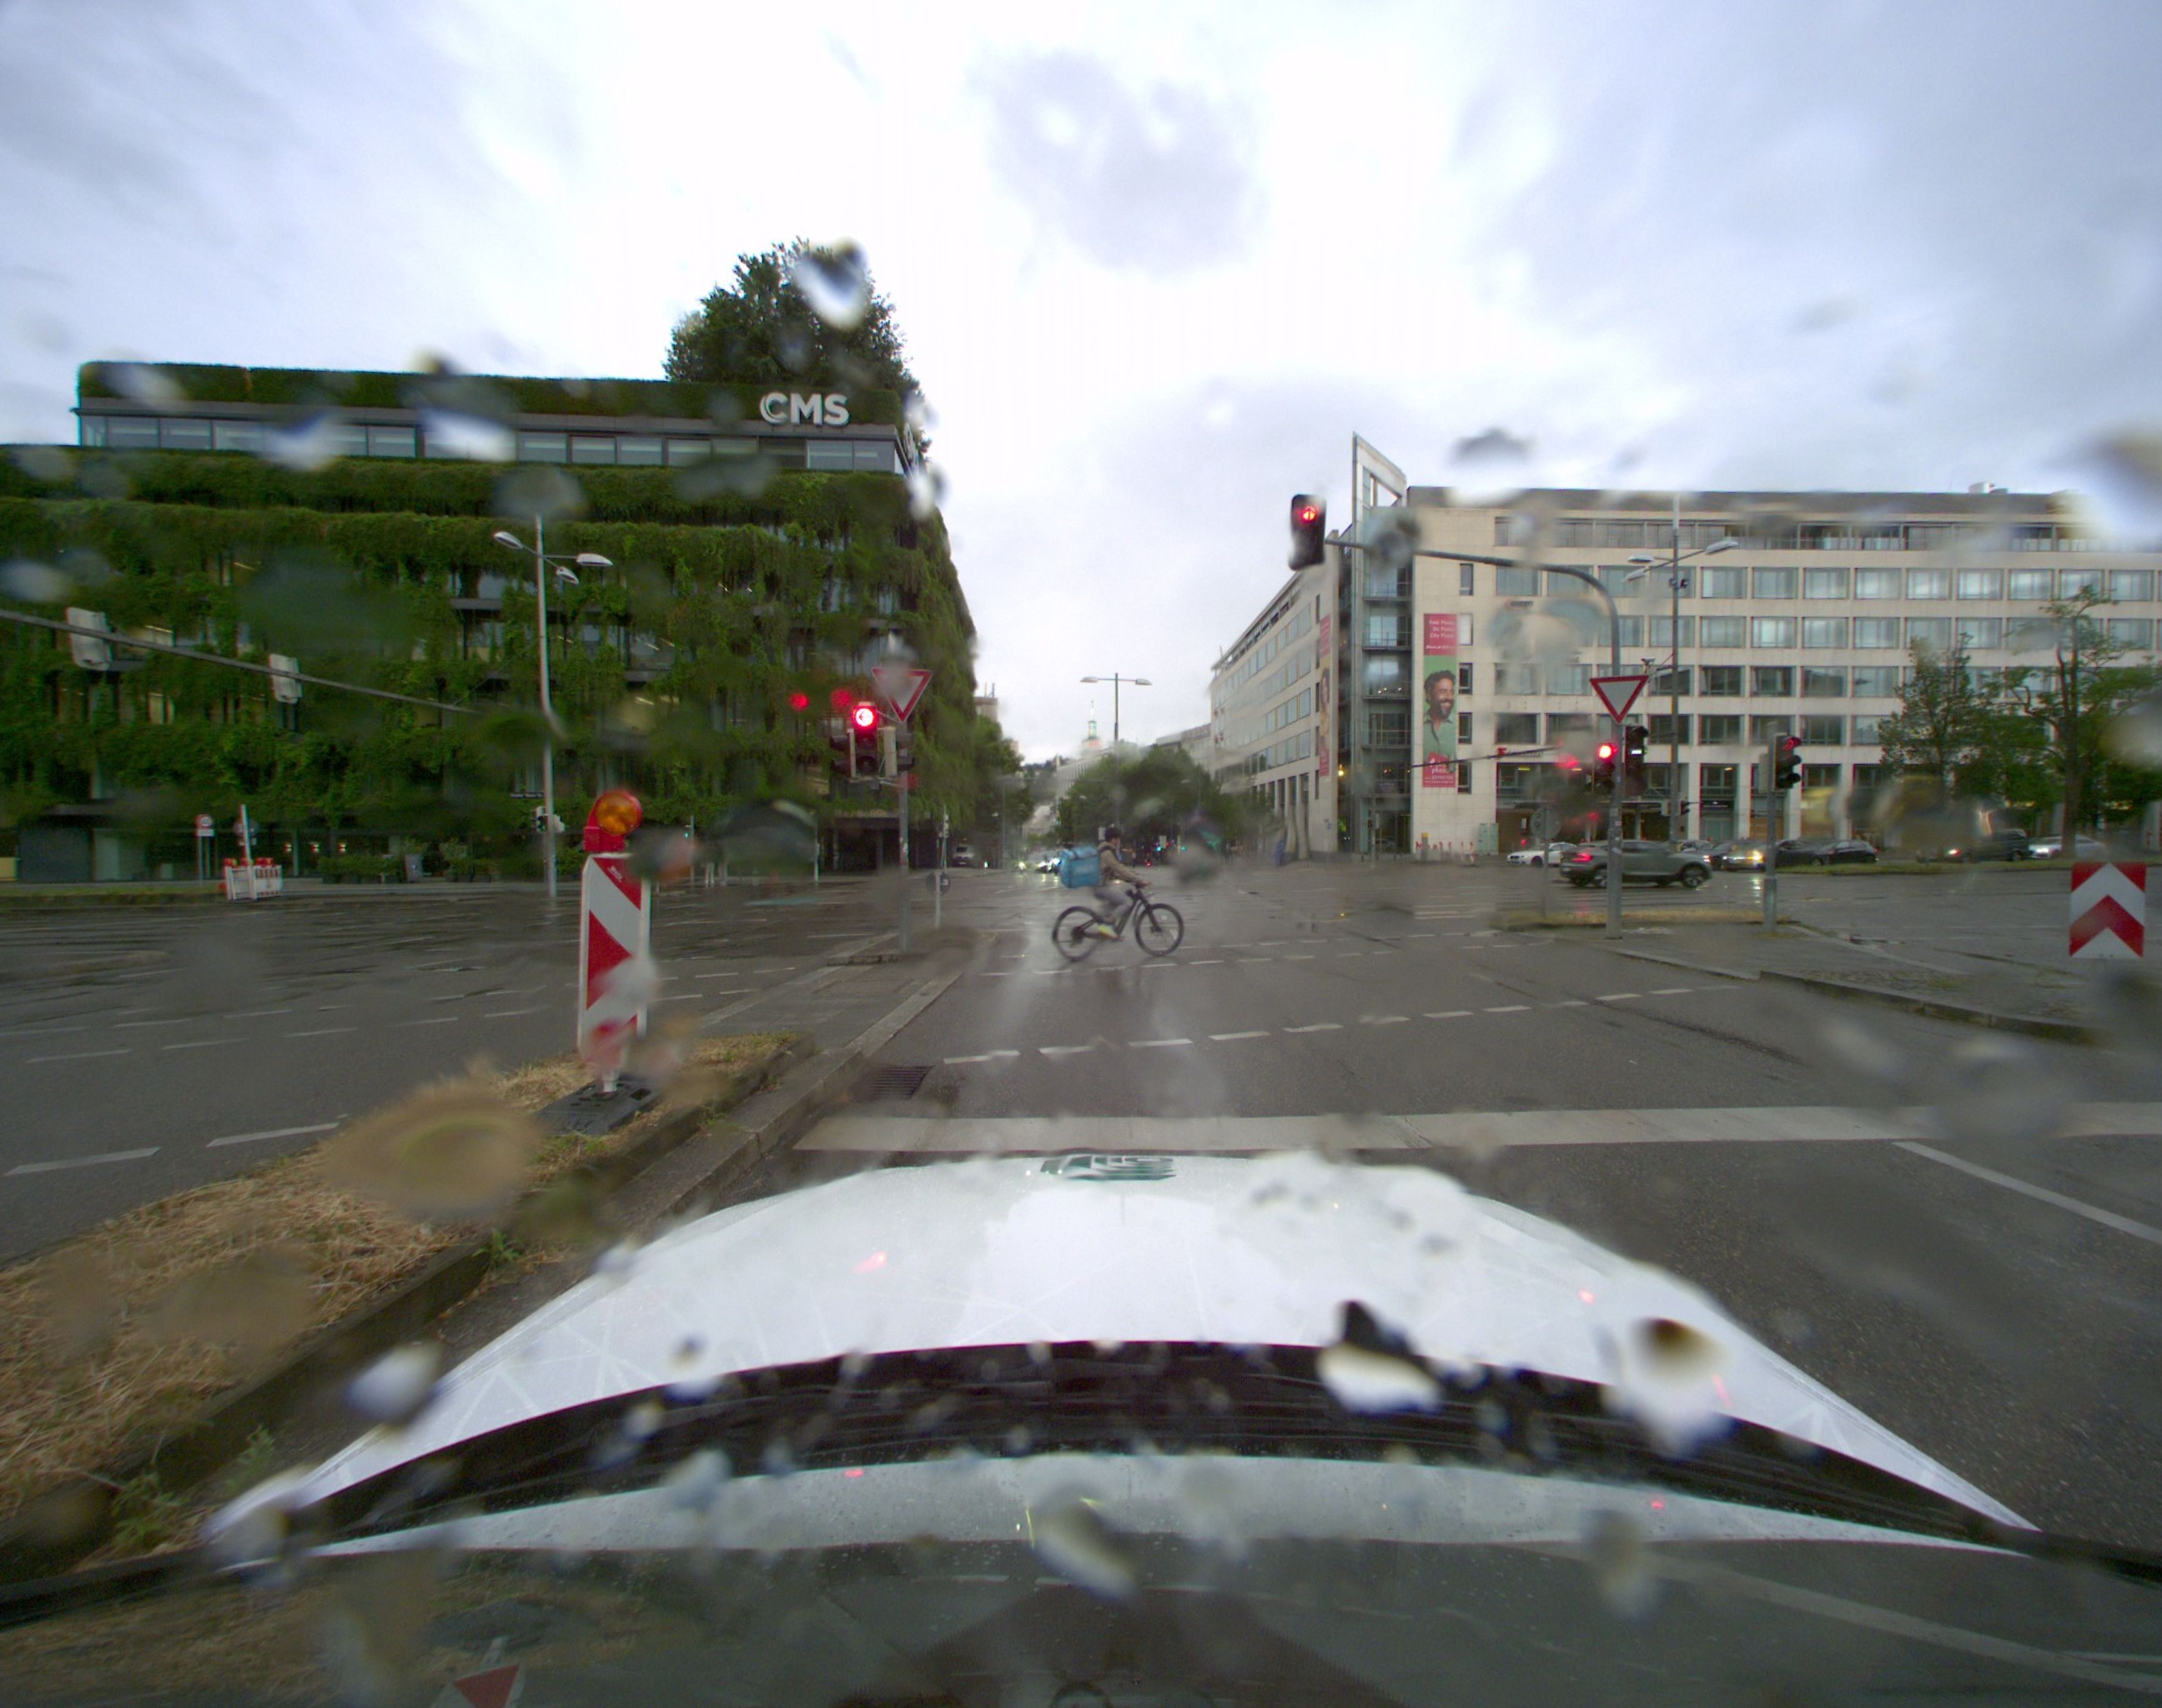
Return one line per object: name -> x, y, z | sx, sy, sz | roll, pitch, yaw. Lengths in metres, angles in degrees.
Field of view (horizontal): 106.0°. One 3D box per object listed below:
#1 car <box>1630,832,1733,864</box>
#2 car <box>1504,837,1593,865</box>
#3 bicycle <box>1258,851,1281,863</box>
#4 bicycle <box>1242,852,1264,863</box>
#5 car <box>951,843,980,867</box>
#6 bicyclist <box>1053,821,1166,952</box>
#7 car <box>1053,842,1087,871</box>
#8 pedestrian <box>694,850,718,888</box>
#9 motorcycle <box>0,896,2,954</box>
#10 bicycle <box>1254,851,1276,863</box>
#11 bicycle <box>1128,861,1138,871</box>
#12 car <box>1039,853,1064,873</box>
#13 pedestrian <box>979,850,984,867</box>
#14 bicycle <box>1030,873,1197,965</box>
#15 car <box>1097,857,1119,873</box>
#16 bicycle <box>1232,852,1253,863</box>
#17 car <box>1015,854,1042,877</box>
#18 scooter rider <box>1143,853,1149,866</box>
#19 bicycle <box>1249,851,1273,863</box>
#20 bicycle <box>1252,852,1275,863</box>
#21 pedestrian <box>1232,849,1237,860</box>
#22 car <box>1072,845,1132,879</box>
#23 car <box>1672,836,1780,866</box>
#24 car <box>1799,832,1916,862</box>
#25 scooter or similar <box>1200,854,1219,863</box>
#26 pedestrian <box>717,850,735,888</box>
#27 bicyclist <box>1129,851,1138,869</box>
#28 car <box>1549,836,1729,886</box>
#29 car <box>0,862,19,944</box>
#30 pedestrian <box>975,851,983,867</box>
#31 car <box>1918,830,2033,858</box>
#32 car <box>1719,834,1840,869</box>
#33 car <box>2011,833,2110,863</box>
car -> 31.675, -0.310, 43.011 | 4.455, 1.598, 1.991 | -1, 0, -13
car -> 28.032, -0.196, 48.877 | 4.456, 1.598, 1.991 | -1, 0, -14
bicycle -> 14.972, 0.239, 64.770 | 1.778, 0.934, 0.478 | -1, 0, 43
bicycle -> 14.963, 0.280, 70.813 | 1.786, 0.934, 0.476 | -1, 0, 4
car -> -9.710, 0.066, 68.813 | 1.989, 1.895, 4.461 | -1, 0, -2
bicyclist -> 0.393, 0.408, 11.237 | 1.301, 1.704, 0.841 | -1, 0, -26
car -> -0.706, 0.123, 51.102 | 1.958, 1.655, 4.362 | -1, 1, -1
pedestrian -> -17.919, 0.704, 38.945 | 0.939, 1.758, 1.163 | -1, 0, -22
motorcycle -> -23.504, 1.505, 16.291 | 2.231, 1.210, 0.844 | -1, 0, -15
bicycle -> 14.840, 0.243, 65.740 | 1.778, 0.934, 0.478 | -1, 0, 43
bicycle -> 5.736, 1.321, 89.544 | 0.790, 1.117, 2.251 | -1, 0, -5
car -> -2.379, 0.692, 64.627 | 1.853, 1.448, 4.614 | -1, 1, -4
pedestrian -> -9.091, 0.388, 74.489 | 0.435, 1.524, 0.547 | -1, 0, -3
bicycle -> 0.462, 0.853, 11.262 | 2.157, 1.103, 0.841 | -1, 0, -27
car -> 2.912, 1.175, 88.352 | 1.989, 1.529, 4.552 | -2, 1, -3
bicycle -> 14.395, 0.292, 72.677 | 1.786, 0.934, 0.476 | -1, 0, 4
car -> -3.729, 0.806, 57.317 | 1.853, 1.448, 4.613 | -1, 1, -5
scooter rider -> 8.926, 0.747, 111.514 | 0.758, 1.774, 0.797 | -1, 0, 7
bicycle -> 14.182, 0.255, 64.146 | 1.778, 0.934, 0.478 | -1, 0, 43
bicycle -> 14.902, 0.281, 66.483 | 1.778, 0.934, 0.478 | -1, 0, 43
pedestrian -> 15.994, 0.025, 84.676 | 0.353, 1.173, 0.413 | -1, 0, -13
car -> 0.974, 0.347, 40.826 | 1.995, 1.486, 4.447 | -2, 1, -12
car -> 31.174, -0.174, 39.396 | 4.455, 1.348, 1.715 | -1, 0, -13
car -> 38.064, -0.352, 39.952 | 4.639, 1.348, 1.919 | -1, 0, -12
scooter or similar -> 12.591, 0.459, 79.803 | 1.750, 0.878, 0.486 | -1, 0, -18
pedestrian -> -17.127, 0.708, 39.275 | 0.744, 1.758, 0.969 | -1, 0, -22
bicyclist -> 5.731, 0.651, 89.550 | 0.790, 1.975, 1.112 | -1, 0, -5
car -> 18.413, 0.219, 27.076 | 4.513, 1.550, 2.005 | -1, 0, 9
car -> -27.136, 1.188, 18.316 | 3.451, 1.922, 1.992 | -1, 0, -11
pedestrian -> -9.319, 0.451, 74.240 | 0.605, 1.524, 0.587 | -1, 0, -3
car -> 46.442, -0.534, 42.309 | 4.637, 1.348, 1.920 | -1, 0, -12
car -> 31.130, -0.115, 36.331 | 4.452, 1.464, 1.716 | -1, 0, -11
car -> 56.539, -0.381, 47.040 | 4.180, 1.623, 1.727 | -1, 1, -8
